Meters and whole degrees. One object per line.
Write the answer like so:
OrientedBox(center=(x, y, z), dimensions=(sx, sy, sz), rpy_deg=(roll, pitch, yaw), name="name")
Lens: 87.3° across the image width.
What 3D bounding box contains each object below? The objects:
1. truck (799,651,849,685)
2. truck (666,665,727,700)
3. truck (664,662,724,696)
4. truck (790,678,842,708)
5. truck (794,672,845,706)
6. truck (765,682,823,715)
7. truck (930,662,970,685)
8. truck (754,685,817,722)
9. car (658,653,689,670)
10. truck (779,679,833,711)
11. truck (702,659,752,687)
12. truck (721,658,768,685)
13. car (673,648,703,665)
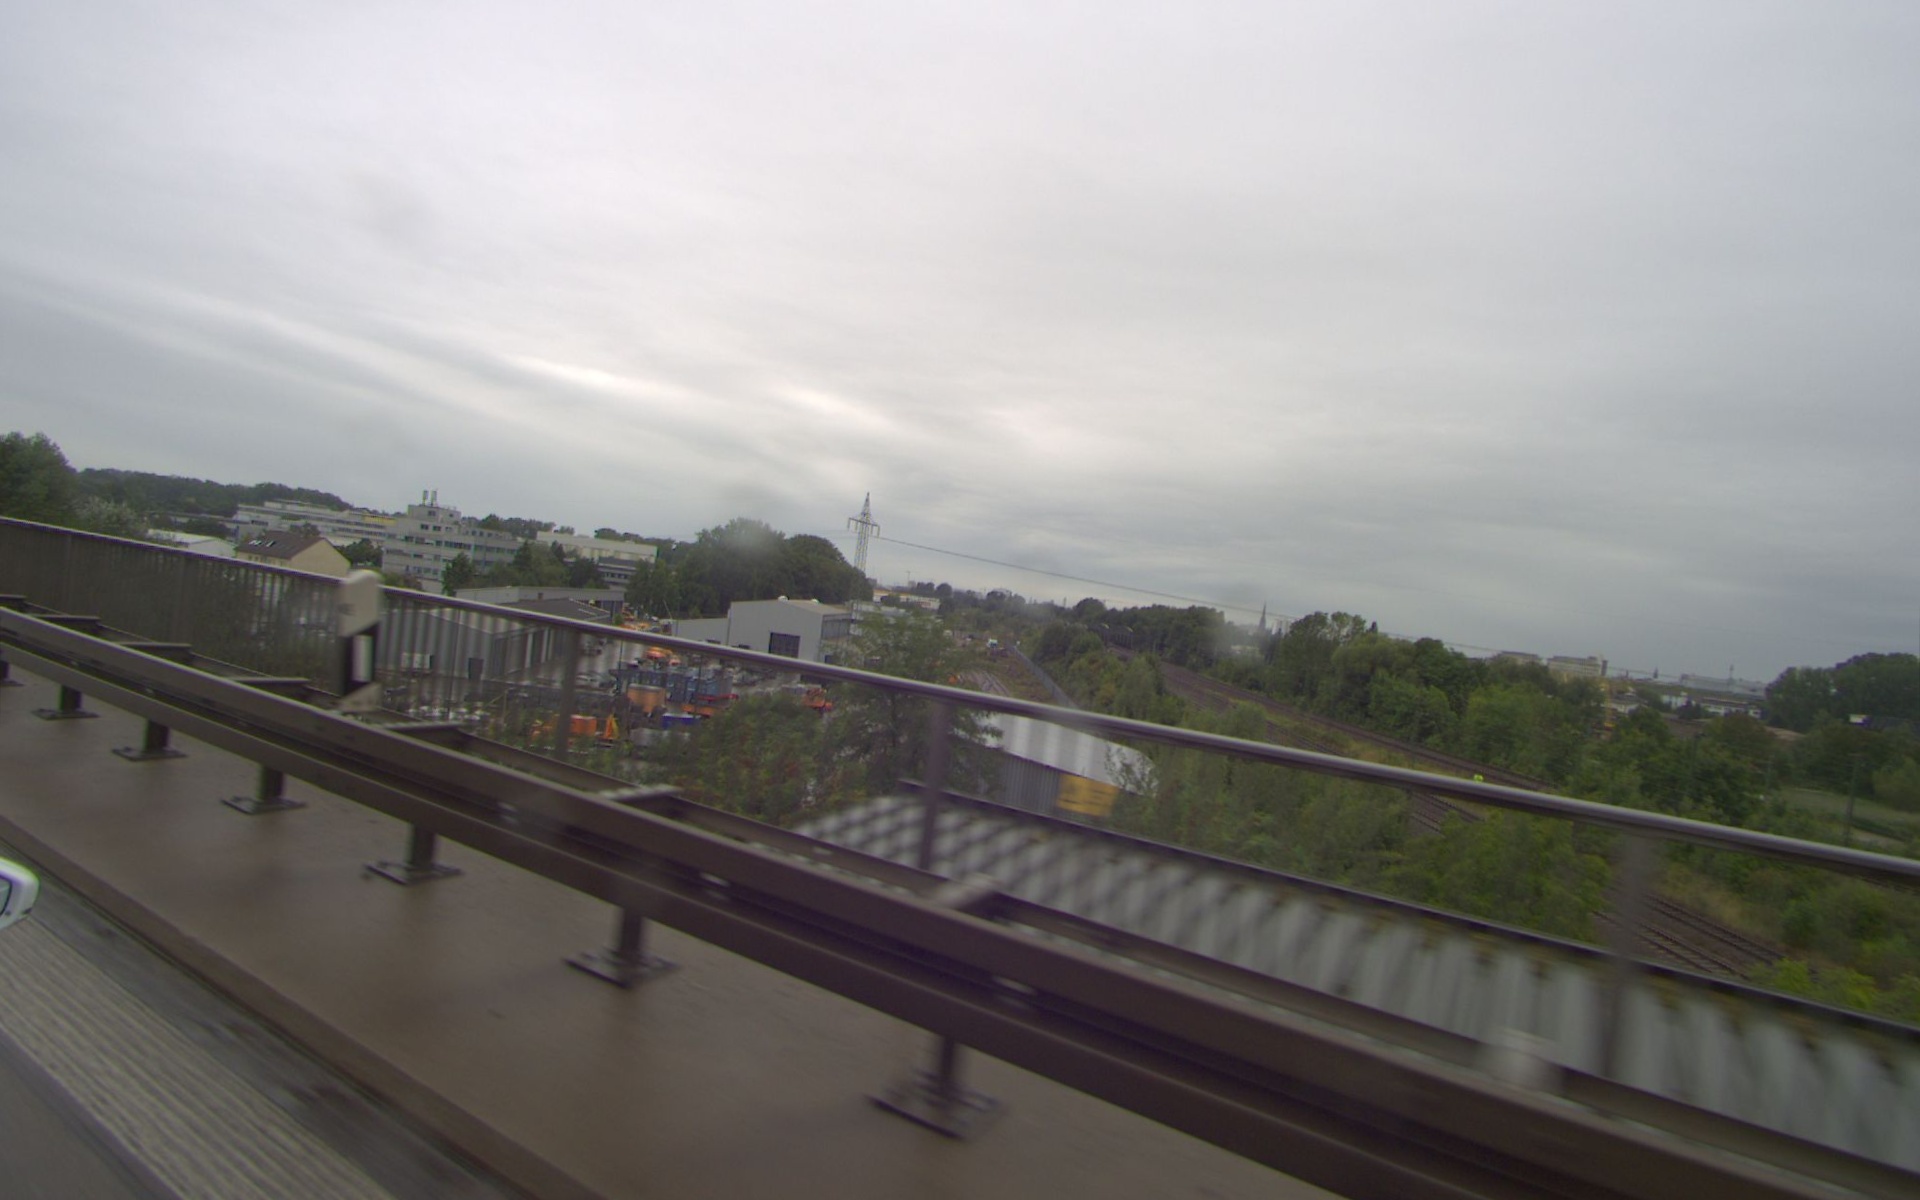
OrientedBox(center=(-19.235, 9.665, 142.971), dimensions=(6.469, 3.854, 2.105), rpy_deg=(7, -1, -2), name="truck")
OrientedBox(center=(-31.477, 9.832, 120.250), dimensions=(6.469, 3.221, 2.105), rpy_deg=(7, -1, -2), name="truck")
OrientedBox(center=(-32.846, 9.750, 124.297), dimensions=(6.469, 3.221, 2.105), rpy_deg=(7, -1, -2), name="truck")
OrientedBox(center=(-19.592, 12.656, 137.387), dimensions=(6.469, 3.221, 2.105), rpy_deg=(7, -1, -2), name="truck")
OrientedBox(center=(-19.576, 12.471, 140.492), dimensions=(6.469, 3.854, 2.105), rpy_deg=(7, -1, -2), name="truck")
OrientedBox(center=(-20.361, 12.072, 123.410), dimensions=(6.469, 3.221, 2.105), rpy_deg=(7, -1, -2), name="truck")
OrientedBox(center=(-1.756, 13.125, 180.503), dimensions=(6.488, 3.221, 2.099), rpy_deg=(8, -1, -15), name="truck")
OrientedBox(center=(-19.945, 11.833, 115.208), dimensions=(6.469, 3.221, 2.105), rpy_deg=(7, -1, -2), name="truck")
OrientedBox(center=(-43.232, 9.320, 151.903), dimensions=(3.929, 2.037, 2.000), rpy_deg=(7, -2, -4), name="car")
OrientedBox(center=(-20.281, 12.535, 132.934), dimensions=(6.469, 3.221, 2.105), rpy_deg=(7, -1, -2), name="truck")
OrientedBox(center=(-34.146, 10.635, 147.574), dimensions=(6.469, 3.221, 2.105), rpy_deg=(7, -1, -2), name="truck")
OrientedBox(center=(-33.050, 10.969, 154.498), dimensions=(6.469, 3.221, 2.105), rpy_deg=(7, -1, -2), name="truck")
OrientedBox(center=(-43.074, 8.923, 159.330), dimensions=(3.929, 2.037, 2.000), rpy_deg=(7, -2, -4), name="car")
